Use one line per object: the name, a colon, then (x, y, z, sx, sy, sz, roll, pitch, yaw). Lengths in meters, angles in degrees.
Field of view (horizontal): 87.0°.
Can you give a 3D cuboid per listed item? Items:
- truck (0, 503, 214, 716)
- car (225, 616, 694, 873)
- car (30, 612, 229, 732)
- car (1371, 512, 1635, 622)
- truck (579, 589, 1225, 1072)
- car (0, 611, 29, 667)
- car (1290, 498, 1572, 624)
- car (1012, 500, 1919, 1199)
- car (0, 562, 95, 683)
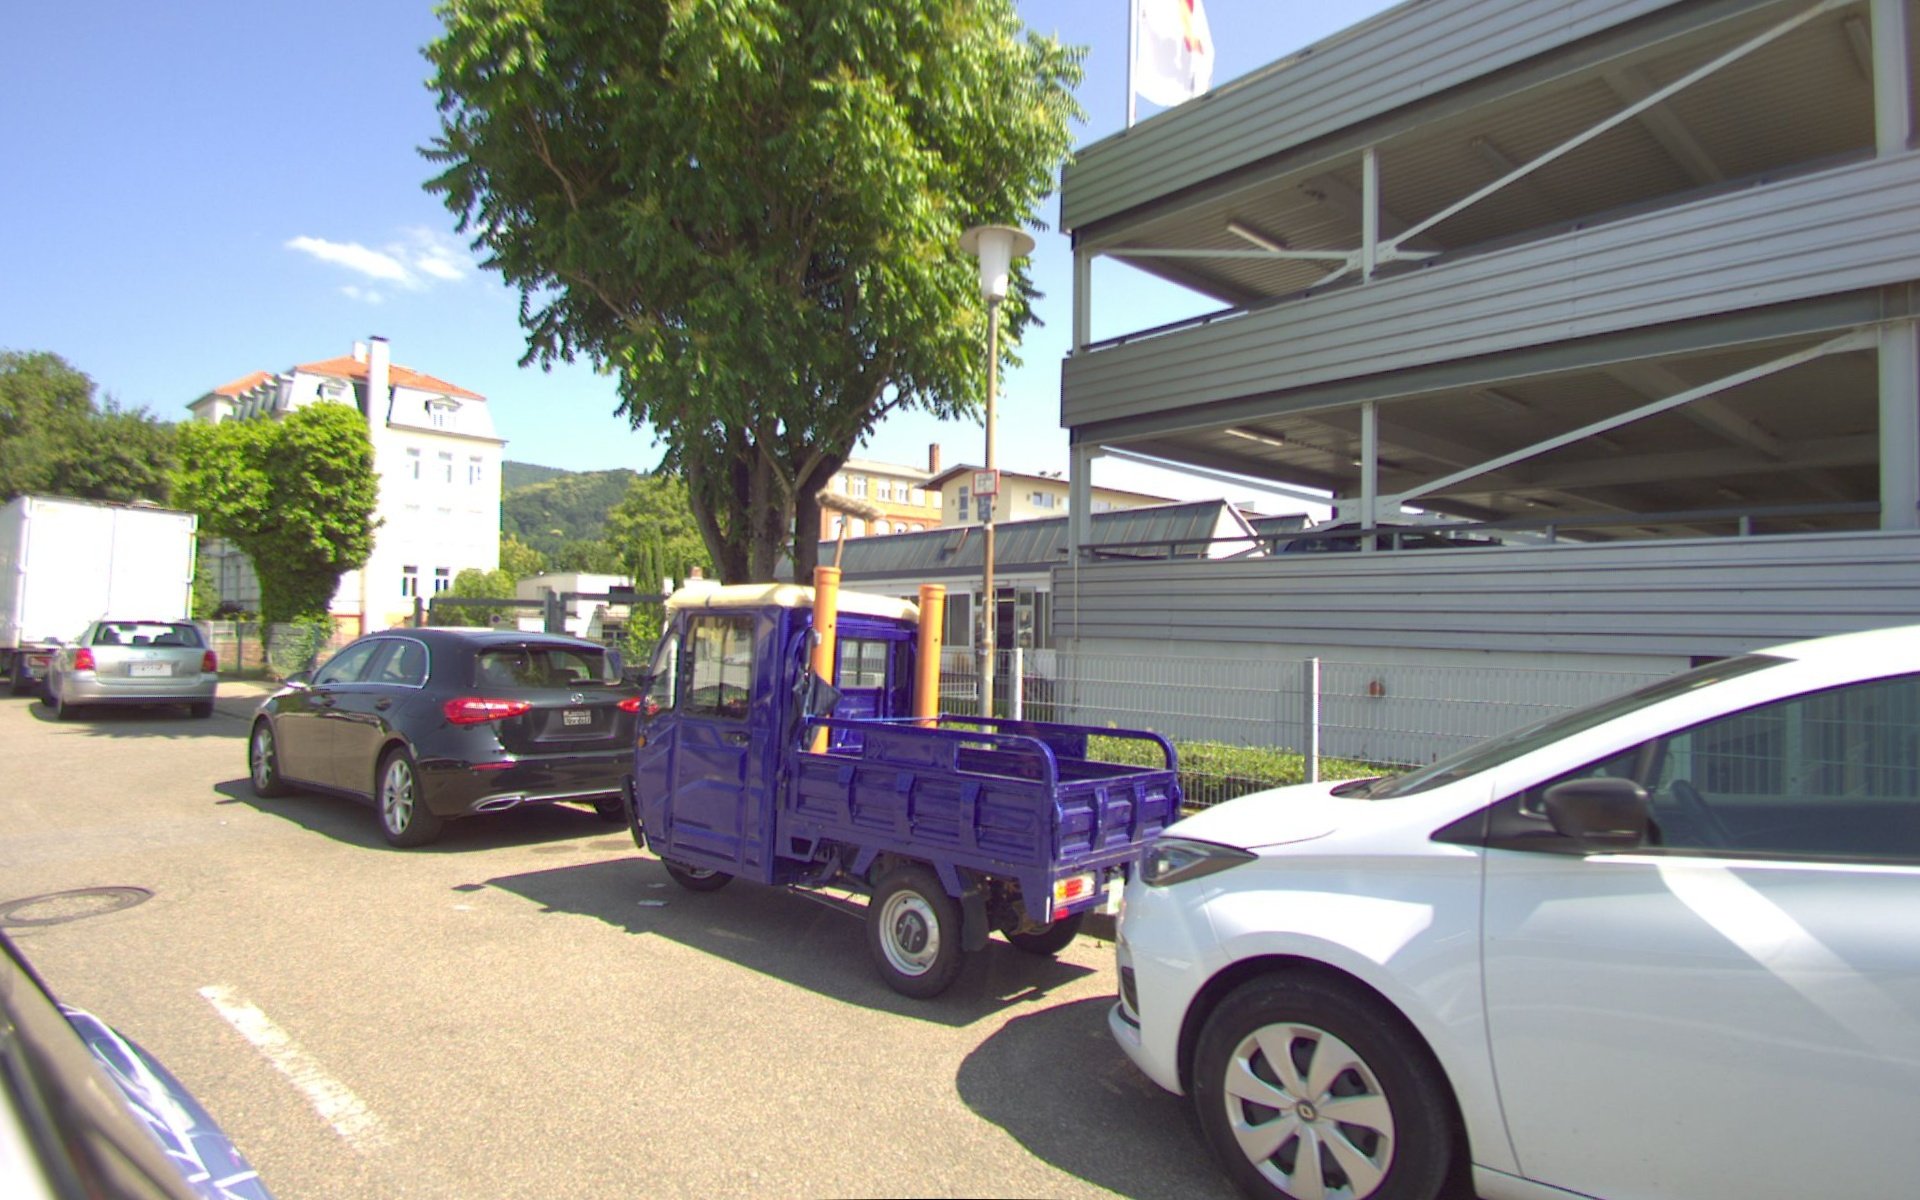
truck: (-17.069, 0.177, 19.502, 7.125, 3.392, 2.658, 0, -2, 40)
car: (-4.040, 0.903, 7.880, 4.110, 1.474, 1.687, 0, -3, 39)
car: (-12.451, 0.979, 15.072, 4.311, 1.533, 1.722, -1, -3, 44)
car: (9.408, -0.545, 17.944, 1.787, 1.684, 4.012, 2, 1, -16)
truck: (-0.441, 0.824, 4.891, 3.137, 1.634, 1.127, -1, -4, 39)
car: (-29.460, 1.110, 30.258, 4.396, 1.555, 1.697, 1, -3, 39)
car: (7.174, -0.565, 15.934, 1.787, 1.684, 4.012, 2, 1, -16)
car: (2.261, 0.694, 2.411, 3.966, 1.636, 1.689, 0, -4, 36)
car: (-23.074, 0.484, 24.515, 6.917, 2.615, 2.145, 0, -3, 41)
